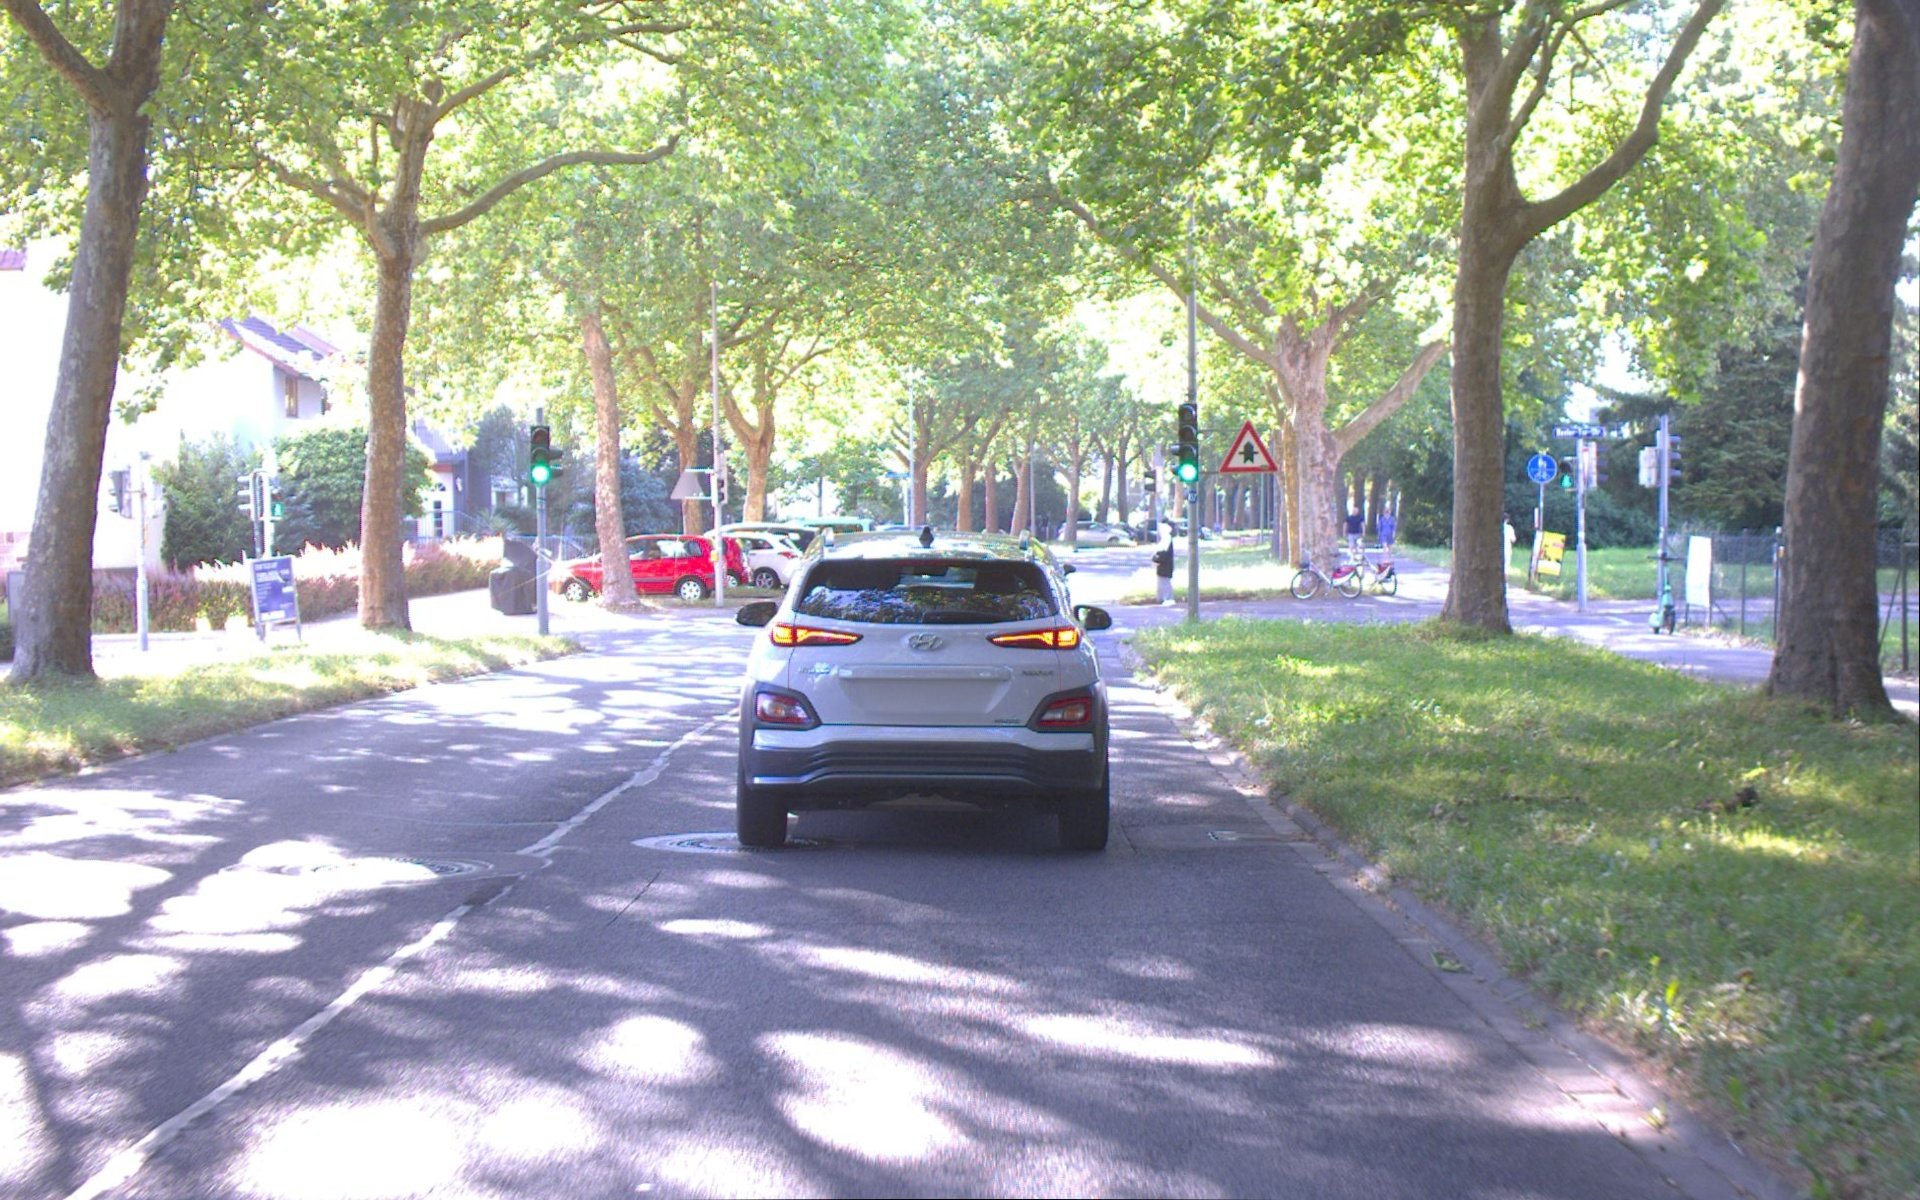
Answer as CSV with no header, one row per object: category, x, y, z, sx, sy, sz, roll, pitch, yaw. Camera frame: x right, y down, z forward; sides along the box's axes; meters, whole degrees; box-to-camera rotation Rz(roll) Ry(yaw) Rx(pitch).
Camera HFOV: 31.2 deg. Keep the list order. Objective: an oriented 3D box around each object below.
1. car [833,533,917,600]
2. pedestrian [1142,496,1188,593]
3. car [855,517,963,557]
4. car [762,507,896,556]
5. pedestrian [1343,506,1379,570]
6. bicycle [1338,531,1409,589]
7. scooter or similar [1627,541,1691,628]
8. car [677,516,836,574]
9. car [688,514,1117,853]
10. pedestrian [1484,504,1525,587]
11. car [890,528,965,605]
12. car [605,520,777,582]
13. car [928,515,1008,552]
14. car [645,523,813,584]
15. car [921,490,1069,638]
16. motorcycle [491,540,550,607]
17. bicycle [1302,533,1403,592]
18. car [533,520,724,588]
car,-1.894,-0.771,77.549,1.688,1.432,3.682,0,2,2
pedestrian,4.250,-1.153,71.276,0.868,2.007,0.813,0,1,9
car,-1.926,-2.381,129.776,3.987,1.473,2.000,0,1,2
car,-3.997,-2.099,105.527,3.987,1.473,2.000,0,1,2
pedestrian,12.643,-1.969,108.368,1.095,2.007,1.105,0,1,8
bicycle,8.473,-0.823,70.475,0.603,1.179,2.119,0,1,-18
scooter or similar,10.392,-0.240,51.169,0.549,1.254,2.313,0,1,2
car,-5.327,-1.437,90.420,3.987,1.473,2.000,0,1,2
car,-0.251,0.359,18.060,1.993,1.569,4.000,0,1,1
pedestrian,11.327,-1.133,71.507,0.834,1.730,0.885,0,1,10
car,-0.785,-0.836,86.217,1.791,1.875,4.000,0,1,1
car,-6.552,-1.195,83.922,3.987,1.473,2.000,0,1,2
car,0.395,-3.241,167.602,3.668,1.802,1.749,0,1,-8
car,-5.776,-1.162,86.272,3.987,1.473,2.000,0,1,3
car,0.455,-0.540,48.743,1.993,2.007,4.000,0,1,-1
motorcycle,-9.190,-0.558,71.939,0.846,1.374,2.776,0,1,1
bicycle,7.894,-0.757,69.272,0.603,1.160,2.149,0,1,-42
car,-7.344,-1.026,76.421,3.987,1.473,2.000,0,1,2
